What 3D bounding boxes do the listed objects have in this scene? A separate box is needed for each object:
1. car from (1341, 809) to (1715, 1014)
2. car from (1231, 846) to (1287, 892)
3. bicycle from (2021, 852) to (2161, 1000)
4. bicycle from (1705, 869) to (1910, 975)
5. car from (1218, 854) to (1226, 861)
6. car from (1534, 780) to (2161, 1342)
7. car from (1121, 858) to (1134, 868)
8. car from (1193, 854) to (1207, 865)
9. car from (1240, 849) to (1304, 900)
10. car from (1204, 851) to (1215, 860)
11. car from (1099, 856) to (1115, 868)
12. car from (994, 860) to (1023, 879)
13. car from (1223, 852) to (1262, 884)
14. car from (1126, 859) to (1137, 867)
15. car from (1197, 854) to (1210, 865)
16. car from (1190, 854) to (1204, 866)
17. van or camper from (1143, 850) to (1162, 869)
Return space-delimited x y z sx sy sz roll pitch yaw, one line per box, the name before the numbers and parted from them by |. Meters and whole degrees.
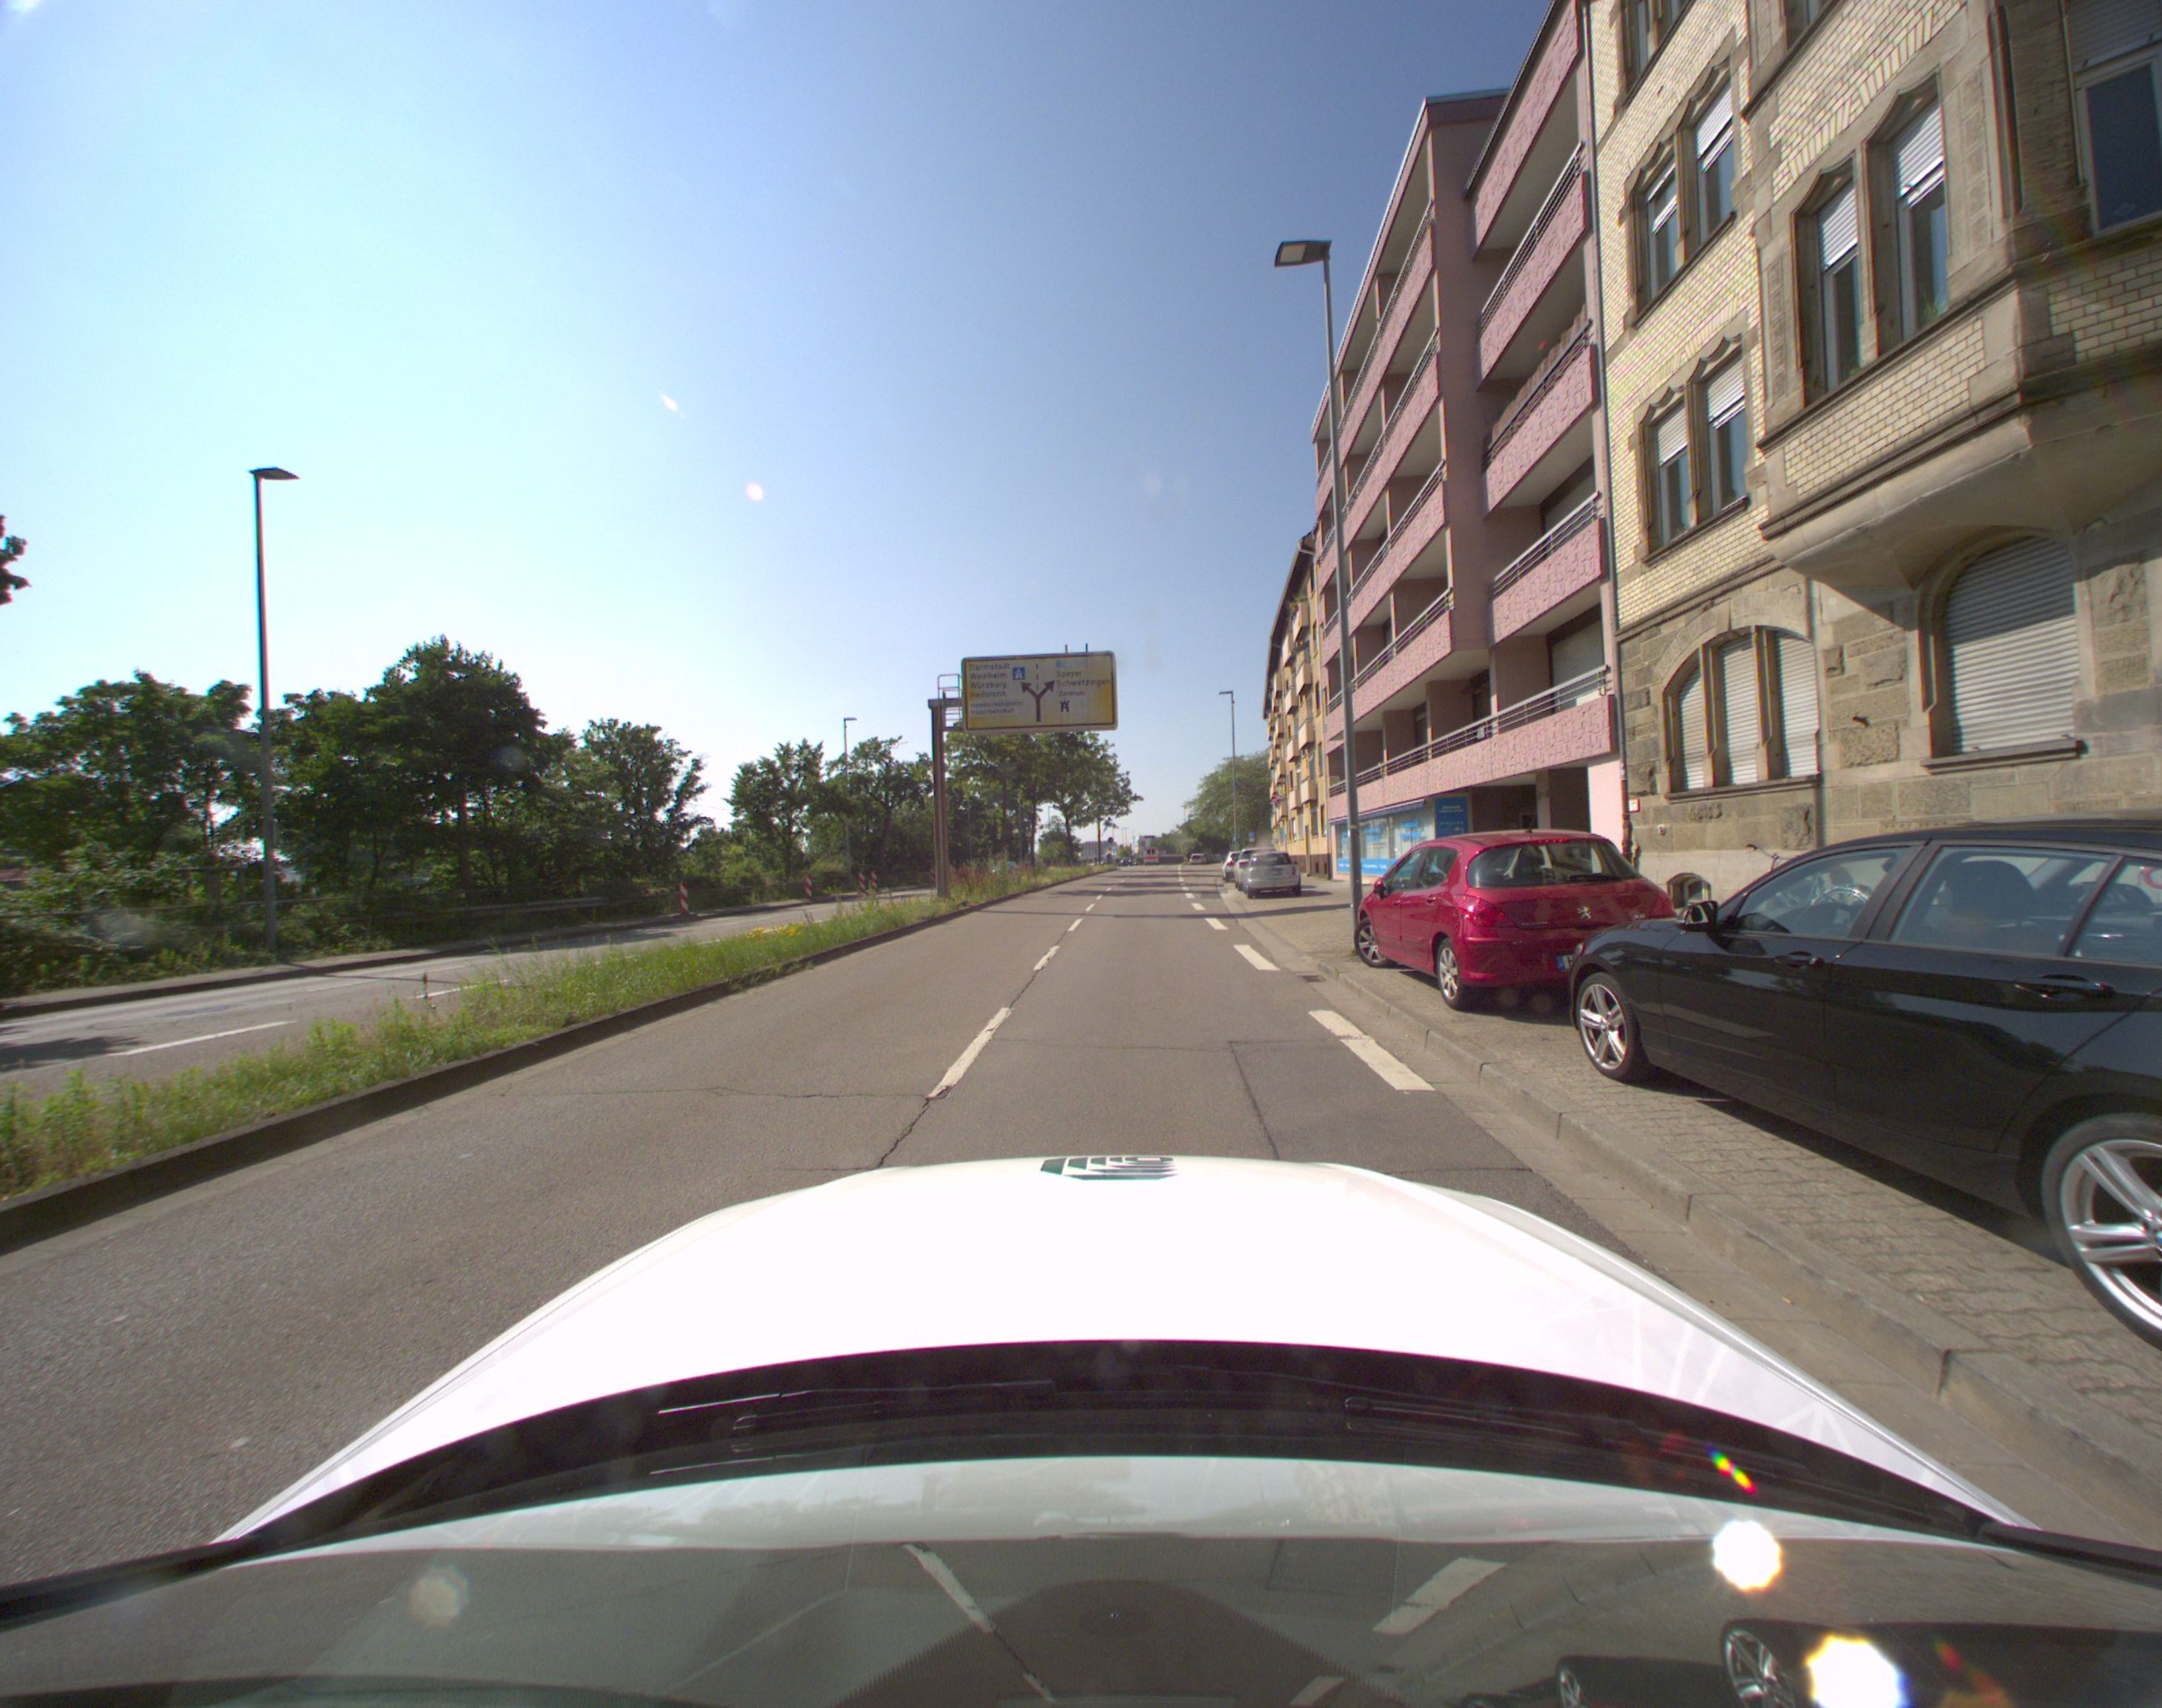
car | 4.066 0.460 8.278 1.777 1.482 4.005 -4 -1 4
car | 6.717 0.530 31.138 1.726 1.541 4.364 -3 0 8
bicycle | 7.459 0.482 5.451 0.505 0.970 1.655 -3 -1 6
bicycle | 7.703 0.674 8.769 0.647 0.970 1.867 -3 -1 6
car | 33.825 0.834 195.504 1.652 1.509 4.022 0 0 13
car | 3.699 0.502 3.341 1.634 1.453 4.132 -3 -1 5
car | 7.653 1.424 133.096 1.753 1.474 4.094 -3 -1 8
car | 17.062 0.816 116.633 1.709 1.505 4.146 -3 -1 13
car | 6.101 0.609 26.356 1.668 1.409 3.439 -4 0 9
car | 22.636 0.282 143.159 1.652 1.511 3.802 0 0 13
car | 3.491 1.009 110.275 1.788 1.530 4.007 -2 0 7
car | -6.334 1.367 71.382 1.637 1.416 3.977 -5 0 6
car | 8.136 0.668 41.294 1.746 1.506 4.137 -1 0 8
car | 10.942 1.970 175.369 1.983 1.734 4.739 -2 0 7
car | 18.350 0.777 122.010 1.760 1.579 4.199 -3 -1 11
car | 16.005 0.817 112.116 1.608 1.505 3.473 -3 -1 13
van or camper | 10.763 0.797 122.402 2.282 2.789 5.587 -2 -1 11
